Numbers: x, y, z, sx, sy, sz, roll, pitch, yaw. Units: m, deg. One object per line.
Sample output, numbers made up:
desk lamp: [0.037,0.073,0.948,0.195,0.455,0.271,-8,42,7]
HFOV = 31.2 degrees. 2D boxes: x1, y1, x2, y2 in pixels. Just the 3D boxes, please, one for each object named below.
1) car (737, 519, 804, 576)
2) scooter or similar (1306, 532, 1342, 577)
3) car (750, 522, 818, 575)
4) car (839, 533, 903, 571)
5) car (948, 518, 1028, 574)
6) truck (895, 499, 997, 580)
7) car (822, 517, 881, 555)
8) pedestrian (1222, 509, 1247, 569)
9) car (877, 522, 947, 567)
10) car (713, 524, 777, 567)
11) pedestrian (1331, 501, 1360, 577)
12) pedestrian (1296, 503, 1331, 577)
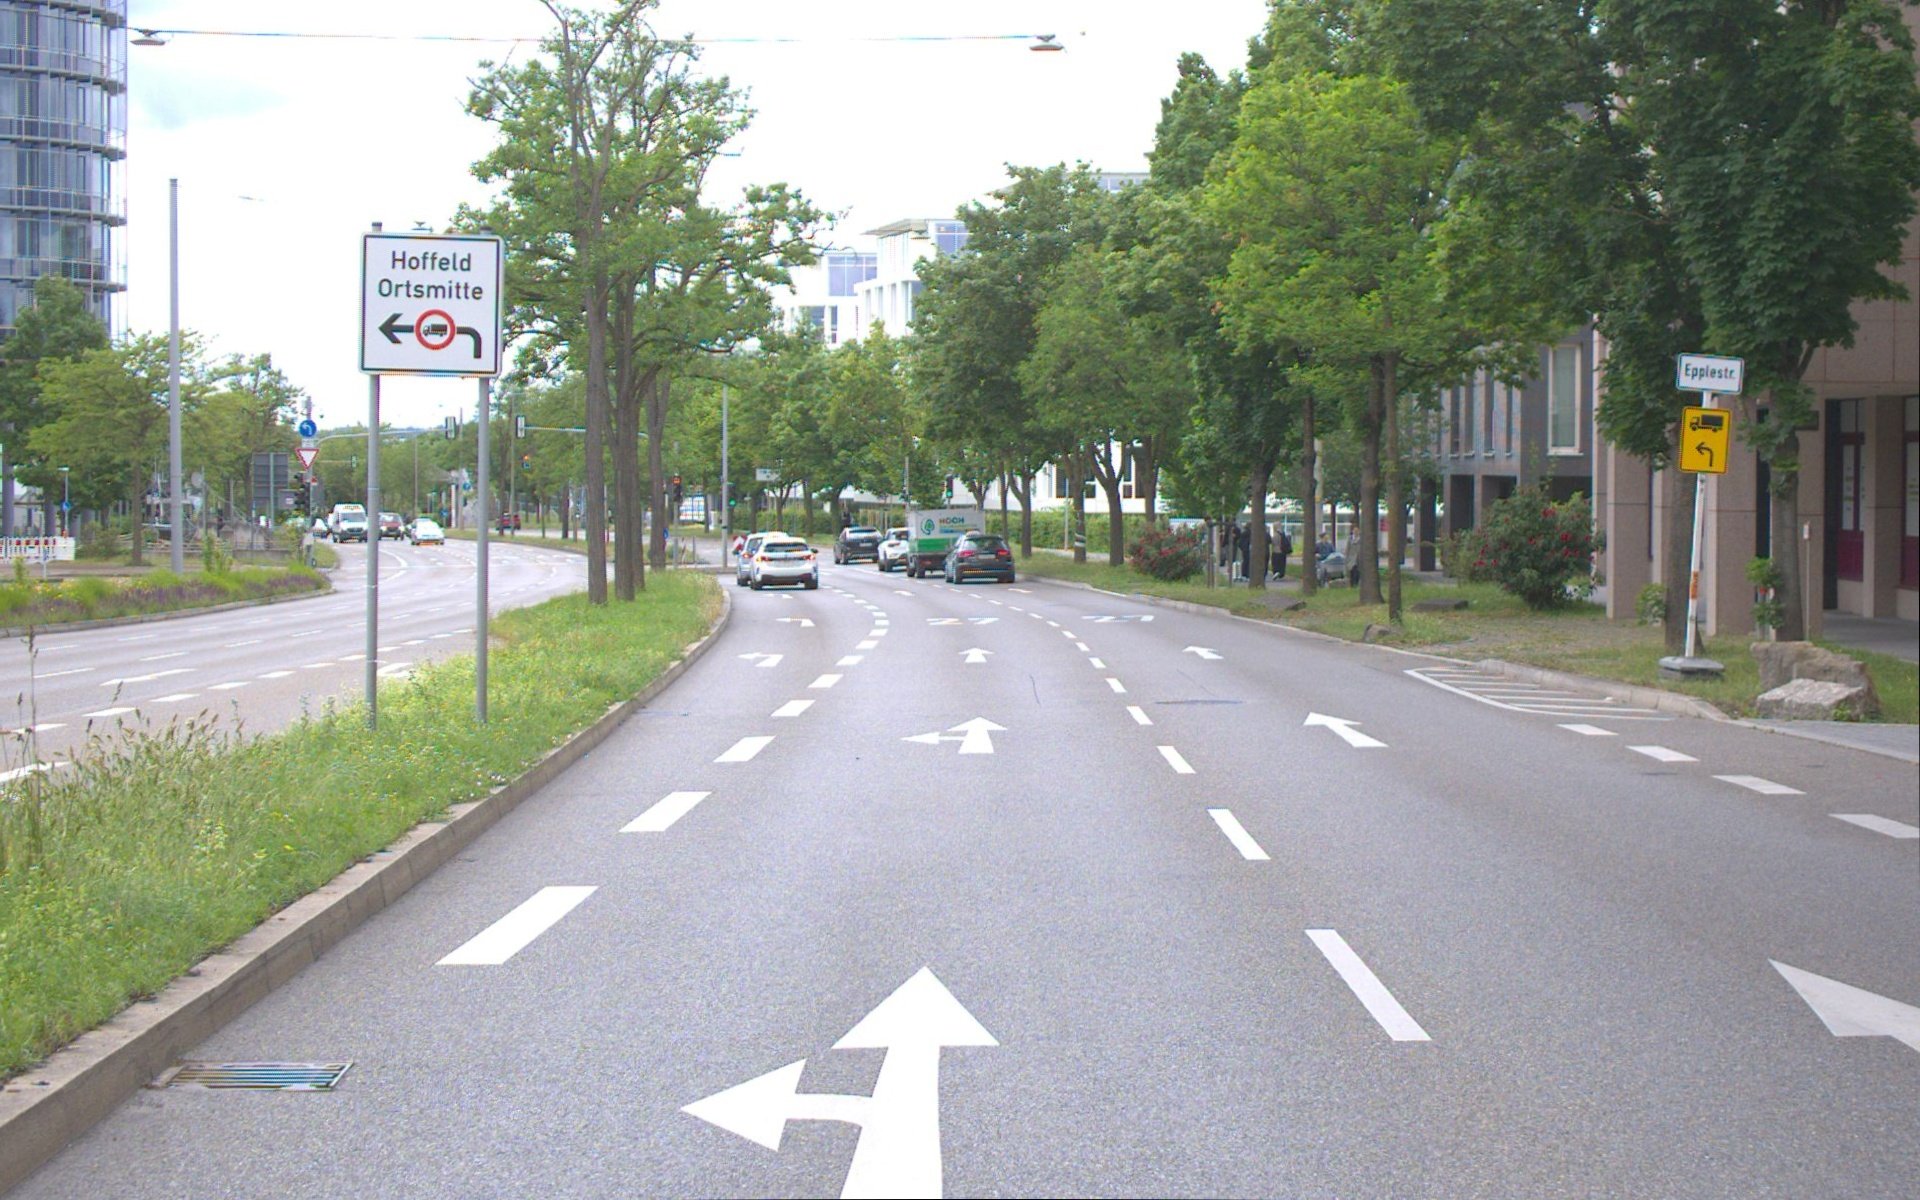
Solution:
car: [-5.795,-1.596,104.747,1.993,1.666,4.001,0,1,-4]
scooter or similar: [8.139,-1.018,76.876,0.583,0.990,0.847,-2,1,-8]
car: [-4.967,-1.458,97.214,1.863,1.444,4.000,0,1,-2]
car: [-3.606,-1.947,138.638,1.993,1.503,4.001,0,1,-10]
car: [0.792,-1.590,99.791,1.993,1.590,4.001,0,1,-5]
truck: [-0.486,-1.930,110.604,2.859,2.511,6.288,0,1,-4]
car: [-4.384,-2.575,138.317,1.993,1.485,4.001,0,1,-7]
pedestrian: [8.273,-1.831,103.681,0.608,1.769,0.954,0,3,-4]
car: [-1.672,-1.943,119.230,1.993,1.503,4.001,-1,1,-7]
car: [-7.733,-1.979,123.940,1.993,1.503,4.000,0,1,1]
pedestrian: [8.743,-1.382,77.959,0.567,1.694,0.829,0,1,0]
pedestrian: [7.993,-1.350,77.763,0.555,1.647,0.962,-2,1,-8]
